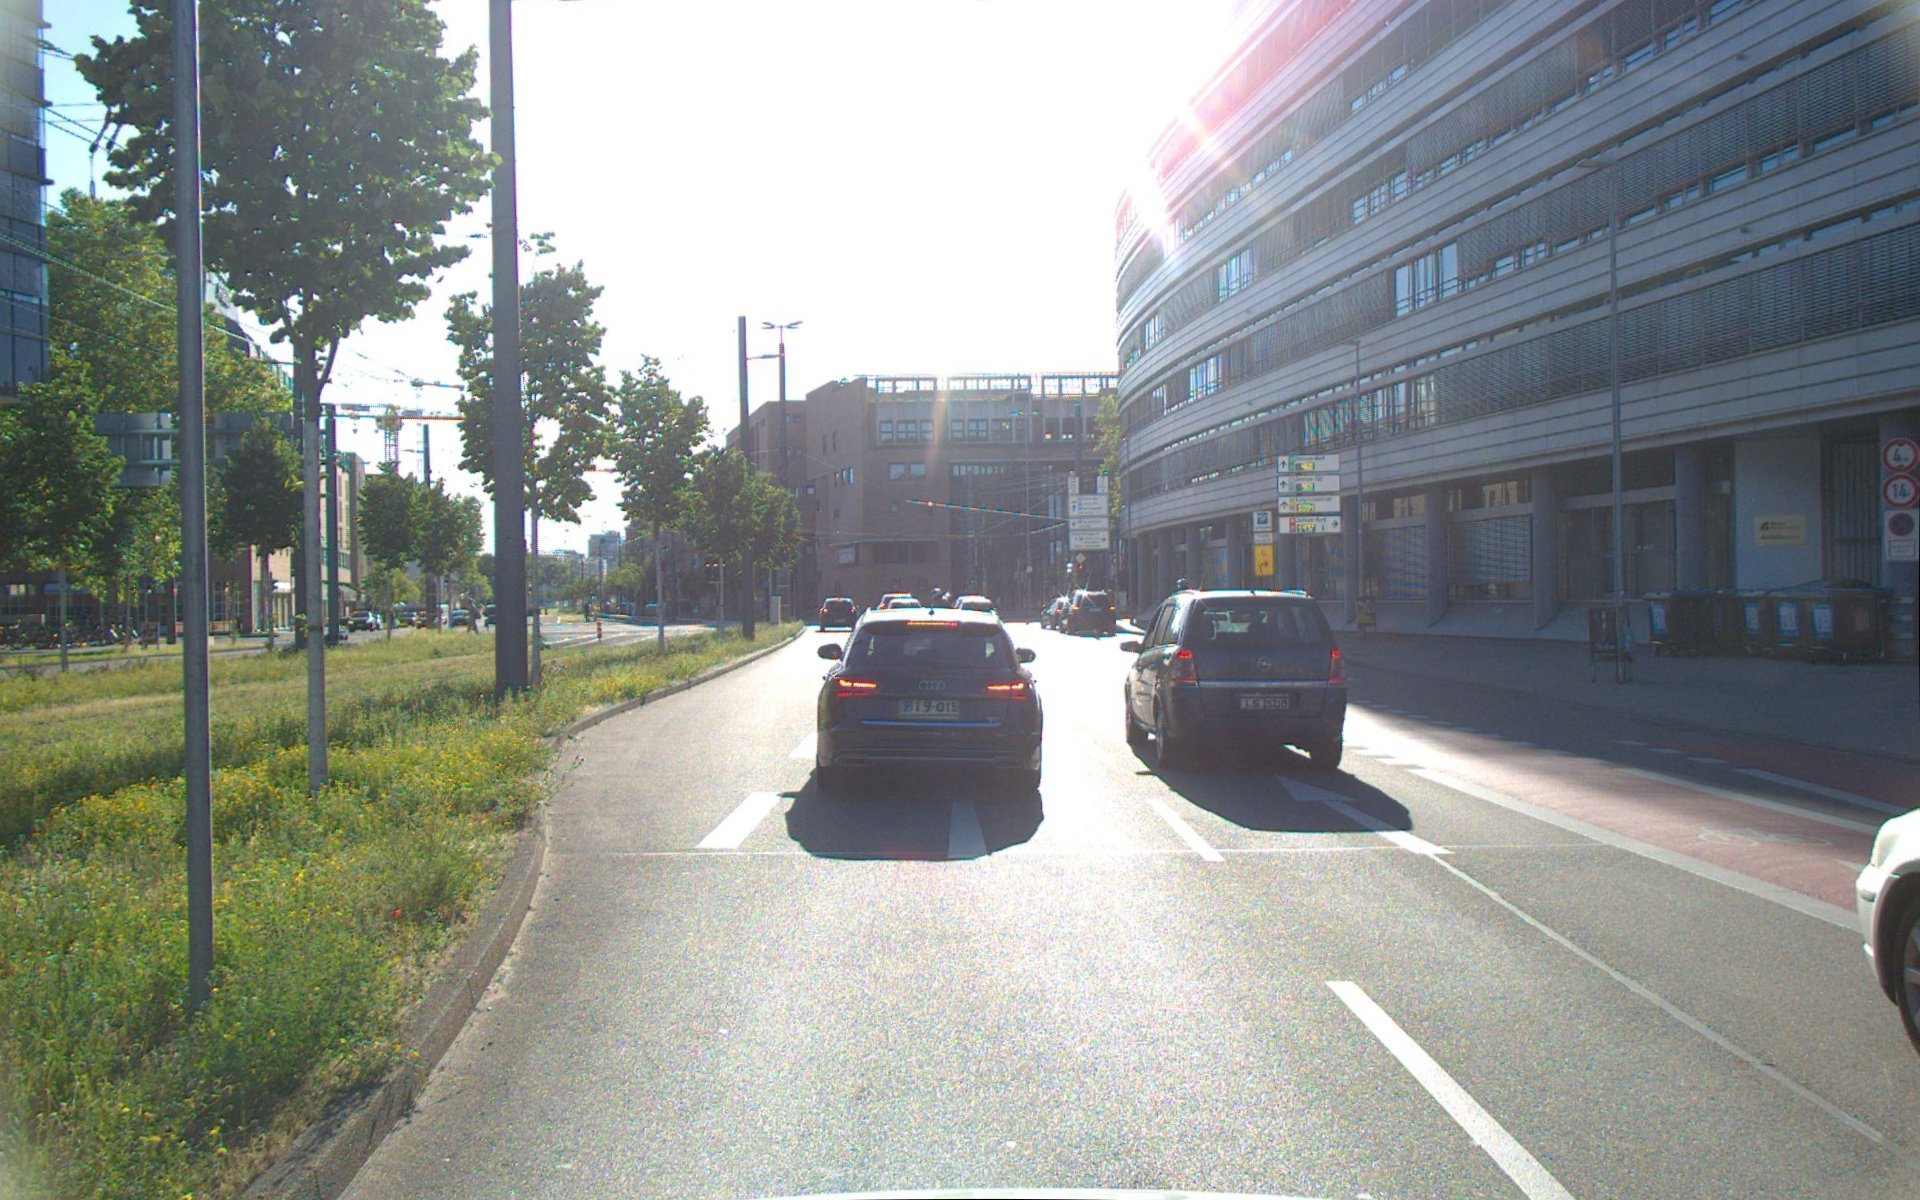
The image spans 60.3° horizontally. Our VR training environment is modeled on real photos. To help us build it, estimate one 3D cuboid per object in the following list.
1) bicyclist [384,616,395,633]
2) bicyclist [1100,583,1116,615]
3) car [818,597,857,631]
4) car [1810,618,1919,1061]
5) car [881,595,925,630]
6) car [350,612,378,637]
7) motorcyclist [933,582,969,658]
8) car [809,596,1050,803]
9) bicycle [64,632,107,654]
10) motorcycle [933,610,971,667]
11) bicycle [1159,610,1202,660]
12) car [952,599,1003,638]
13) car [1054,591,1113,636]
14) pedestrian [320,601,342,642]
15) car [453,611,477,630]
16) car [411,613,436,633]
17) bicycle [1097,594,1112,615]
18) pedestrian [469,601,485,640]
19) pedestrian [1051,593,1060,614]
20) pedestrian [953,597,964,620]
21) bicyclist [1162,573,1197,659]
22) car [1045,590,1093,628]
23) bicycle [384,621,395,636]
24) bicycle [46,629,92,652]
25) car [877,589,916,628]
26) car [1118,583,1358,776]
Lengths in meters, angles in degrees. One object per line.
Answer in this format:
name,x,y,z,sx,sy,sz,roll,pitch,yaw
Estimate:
bicyclist,-47.411,2.022,137.512,0.745,1.399,0.947,-1,0,-16
bicyclist,7.853,-0.044,87.783,0.669,1.646,0.992,-1,0,12
car,-5.521,0.608,74.936,1.616,1.458,3.998,-1,0,-3
car,4.000,0.789,3.917,1.714,1.456,4.489,-1,0,1
car,-2.390,0.484,68.659,1.702,1.373,3.998,-1,0,-3
car,-50.907,2.054,141.287,1.962,2.049,3.981,-1,0,-17
motorcyclist,-0.187,0.419,34.981,0.729,1.557,1.021,-1,0,0
car,-0.289,0.735,14.542,1.774,1.518,4.494,1,0,-2
bicycle,-40.604,1.985,76.775,1.748,0.968,0.536,-1,0,-31
motorcycle,-0.183,0.808,35.052,0.759,1.135,1.969,-1,0,-1
bicycle,4.746,0.734,35.731,0.482,1.015,2.327,-1,0,-3
car,0.645,0.691,65.416,1.771,1.483,3.998,0,0,-3
car,5.132,0.535,69.367,1.954,1.780,4.326,-1,0,-3
pedestrian,-31.193,1.065,82.030,0.717,2.049,0.837,0,0,0
car,-43.289,1.771,144.593,1.720,1.531,3.856,-1,0,-21
car,-46.779,1.984,144.242,1.962,1.623,4.716,-2,1,-17
bicycle,7.670,0.230,87.499,0.493,1.076,1.703,-4,0,13
pedestrian,-23.605,0.989,80.830,0.620,1.862,0.661,-1,0,-10
pedestrian,6.713,0.213,115.738,0.519,1.455,0.597,-1,0,-4
pedestrian,-0.129,0.674,130.419,0.692,1.789,0.561,-1,0,21
bicyclist,4.735,0.347,35.714,0.565,1.822,0.863,-1,0,-3
car,5.005,0.401,76.703,1.953,1.680,4.000,-1,0,0
bicycle,-47.402,2.362,137.439,0.639,1.104,2.916,-1,0,-14
bicycle,-40.663,1.838,75.504,1.739,0.968,0.538,-1,0,-20
car,-2.910,0.384,75.752,1.702,1.680,3.998,-1,0,-3
car,2.658,0.696,16.758,1.653,1.657,4.462,-1,0,0
